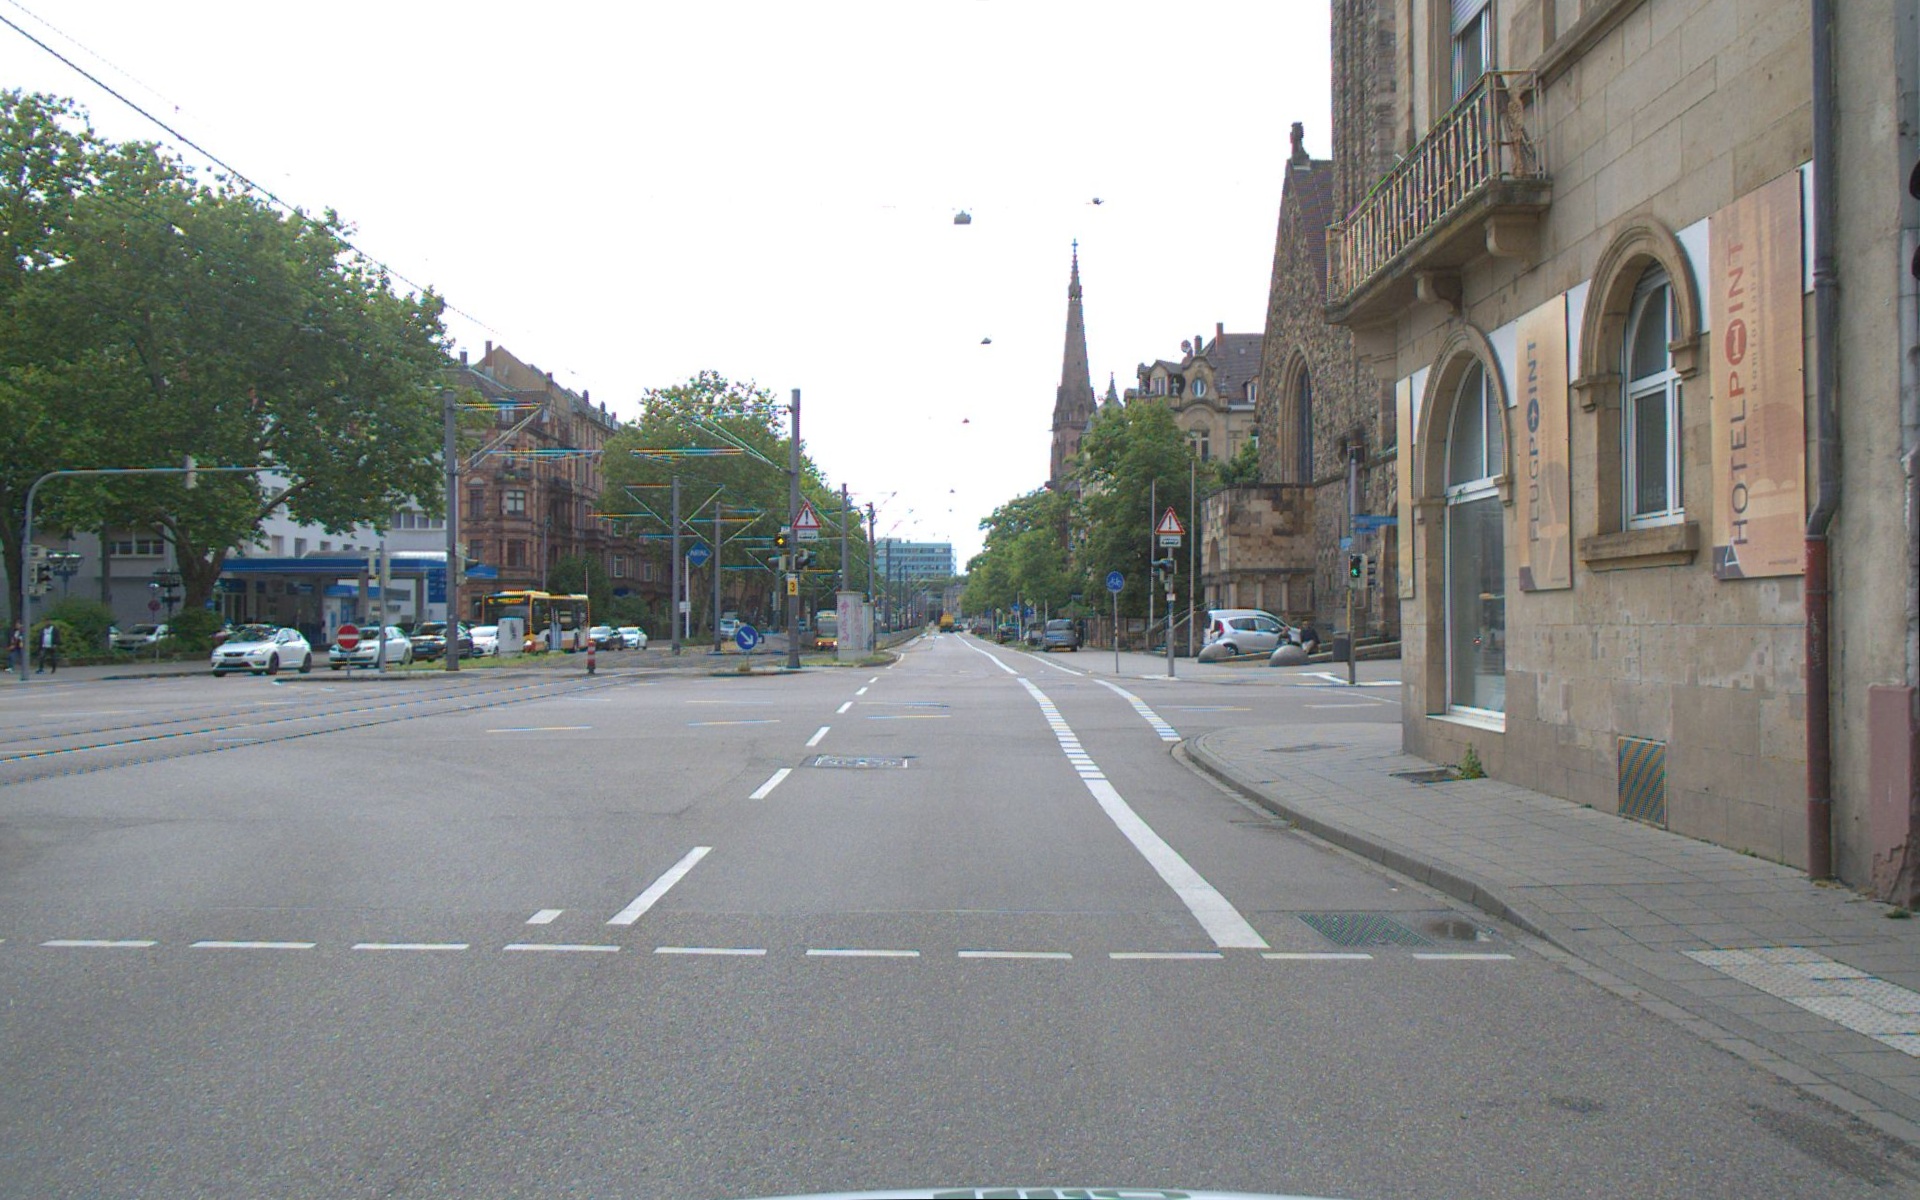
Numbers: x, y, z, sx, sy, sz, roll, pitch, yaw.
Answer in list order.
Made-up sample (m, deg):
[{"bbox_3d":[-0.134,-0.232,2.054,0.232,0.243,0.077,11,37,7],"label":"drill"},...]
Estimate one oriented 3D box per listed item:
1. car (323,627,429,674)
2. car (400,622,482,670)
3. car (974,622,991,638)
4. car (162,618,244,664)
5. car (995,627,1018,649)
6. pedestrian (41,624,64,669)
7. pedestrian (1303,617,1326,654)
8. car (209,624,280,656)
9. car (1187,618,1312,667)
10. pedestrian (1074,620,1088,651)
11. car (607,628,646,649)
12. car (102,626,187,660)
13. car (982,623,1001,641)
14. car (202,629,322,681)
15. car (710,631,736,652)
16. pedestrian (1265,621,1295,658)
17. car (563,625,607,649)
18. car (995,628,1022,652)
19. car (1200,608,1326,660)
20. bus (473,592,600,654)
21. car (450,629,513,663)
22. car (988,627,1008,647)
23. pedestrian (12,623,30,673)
[{"bbox_3d":[-20.966,1.785,59.643,1.803,1.552,5.701,1,-1,-1],"label":"car"},{"bbox_3d":[-21.020,1.825,67.151,1.667,1.814,5.149,1,-1,0],"label":"car"},{"bbox_3d":[2.887,3.897,213.467,1.953,2.049,3.998,1,-1,-2],"label":"car"},{"bbox_3d":[-34.771,1.847,76.076,1.953,2.049,3.999,-1,-1,-1],"label":"car"},{"bbox_3d":[4.546,3.690,161.349,1.953,2.049,3.998,1,-1,-2],"label":"car"},{"bbox_3d":[-27.121,1.390,49.429,0.446,1.349,0.469,0,-1,-7],"label":"pedestrian"},{"bbox_3d":[12.176,1.208,56.747,0.721,1.250,1.063,1,-1,14],"label":"pedestrian"},{"bbox_3d":[-32.374,1.809,74.914,1.667,1.382,3.404,1,-1,0],"label":"car"},{"bbox_3d":[10.504,1.538,60.152,4.260,1.665,1.662,1,-1,-1],"label":"car"},{"bbox_3d":[6.726,1.980,91.911,0.760,1.676,0.799,1,-1,5],"label":"pedestrian"},{"bbox_3d":[-21.057,2.408,104.507,1.667,1.242,3.890,1,-1,0],"label":"car"},{"bbox_3d":[-37.522,1.945,76.211,1.953,1.492,3.999,0,-1,-1],"label":"car"},{"bbox_3d":[3.537,3.595,186.184,1.953,2.049,3.998,1,-1,-2],"label":"car"},{"bbox_3d":[-21.214,1.640,50.484,1.804,1.473,4.412,1,-1,-1],"label":"car"},{"bbox_3d":[-20.658,3.642,144.479,1.667,1.742,3.890,1,-1,0],"label":"car"},{"bbox_3d":[10.896,1.336,56.322,0.721,1.212,1.493,1,-1,0],"label":"pedestrian"},{"bbox_3d":[-22.025,2.163,97.329,1.667,1.382,3.890,1,-1,0],"label":"car"},{"bbox_3d":[3.830,3.158,131.393,1.953,1.852,3.999,0,-1,-1],"label":"car"},{"bbox_3d":[11.638,1.291,63.686,4.517,1.914,1.662,1,-1,-1],"label":"car"},{"bbox_3d":[-21.344,1.140,84.232,3.214,2.906,12.379,1,-1,0],"label":"bus"},{"bbox_3d":[-21.270,2.030,73.623,1.667,1.422,3.890,1,-1,0],"label":"car"},{"bbox_3d":[3.849,3.763,167.614,1.953,1.915,3.999,0,-1,-1],"label":"car"},{"bbox_3d":[-27.932,1.424,49.209,0.354,1.505,0.373,0,-1,-7],"label":"pedestrian"}]
